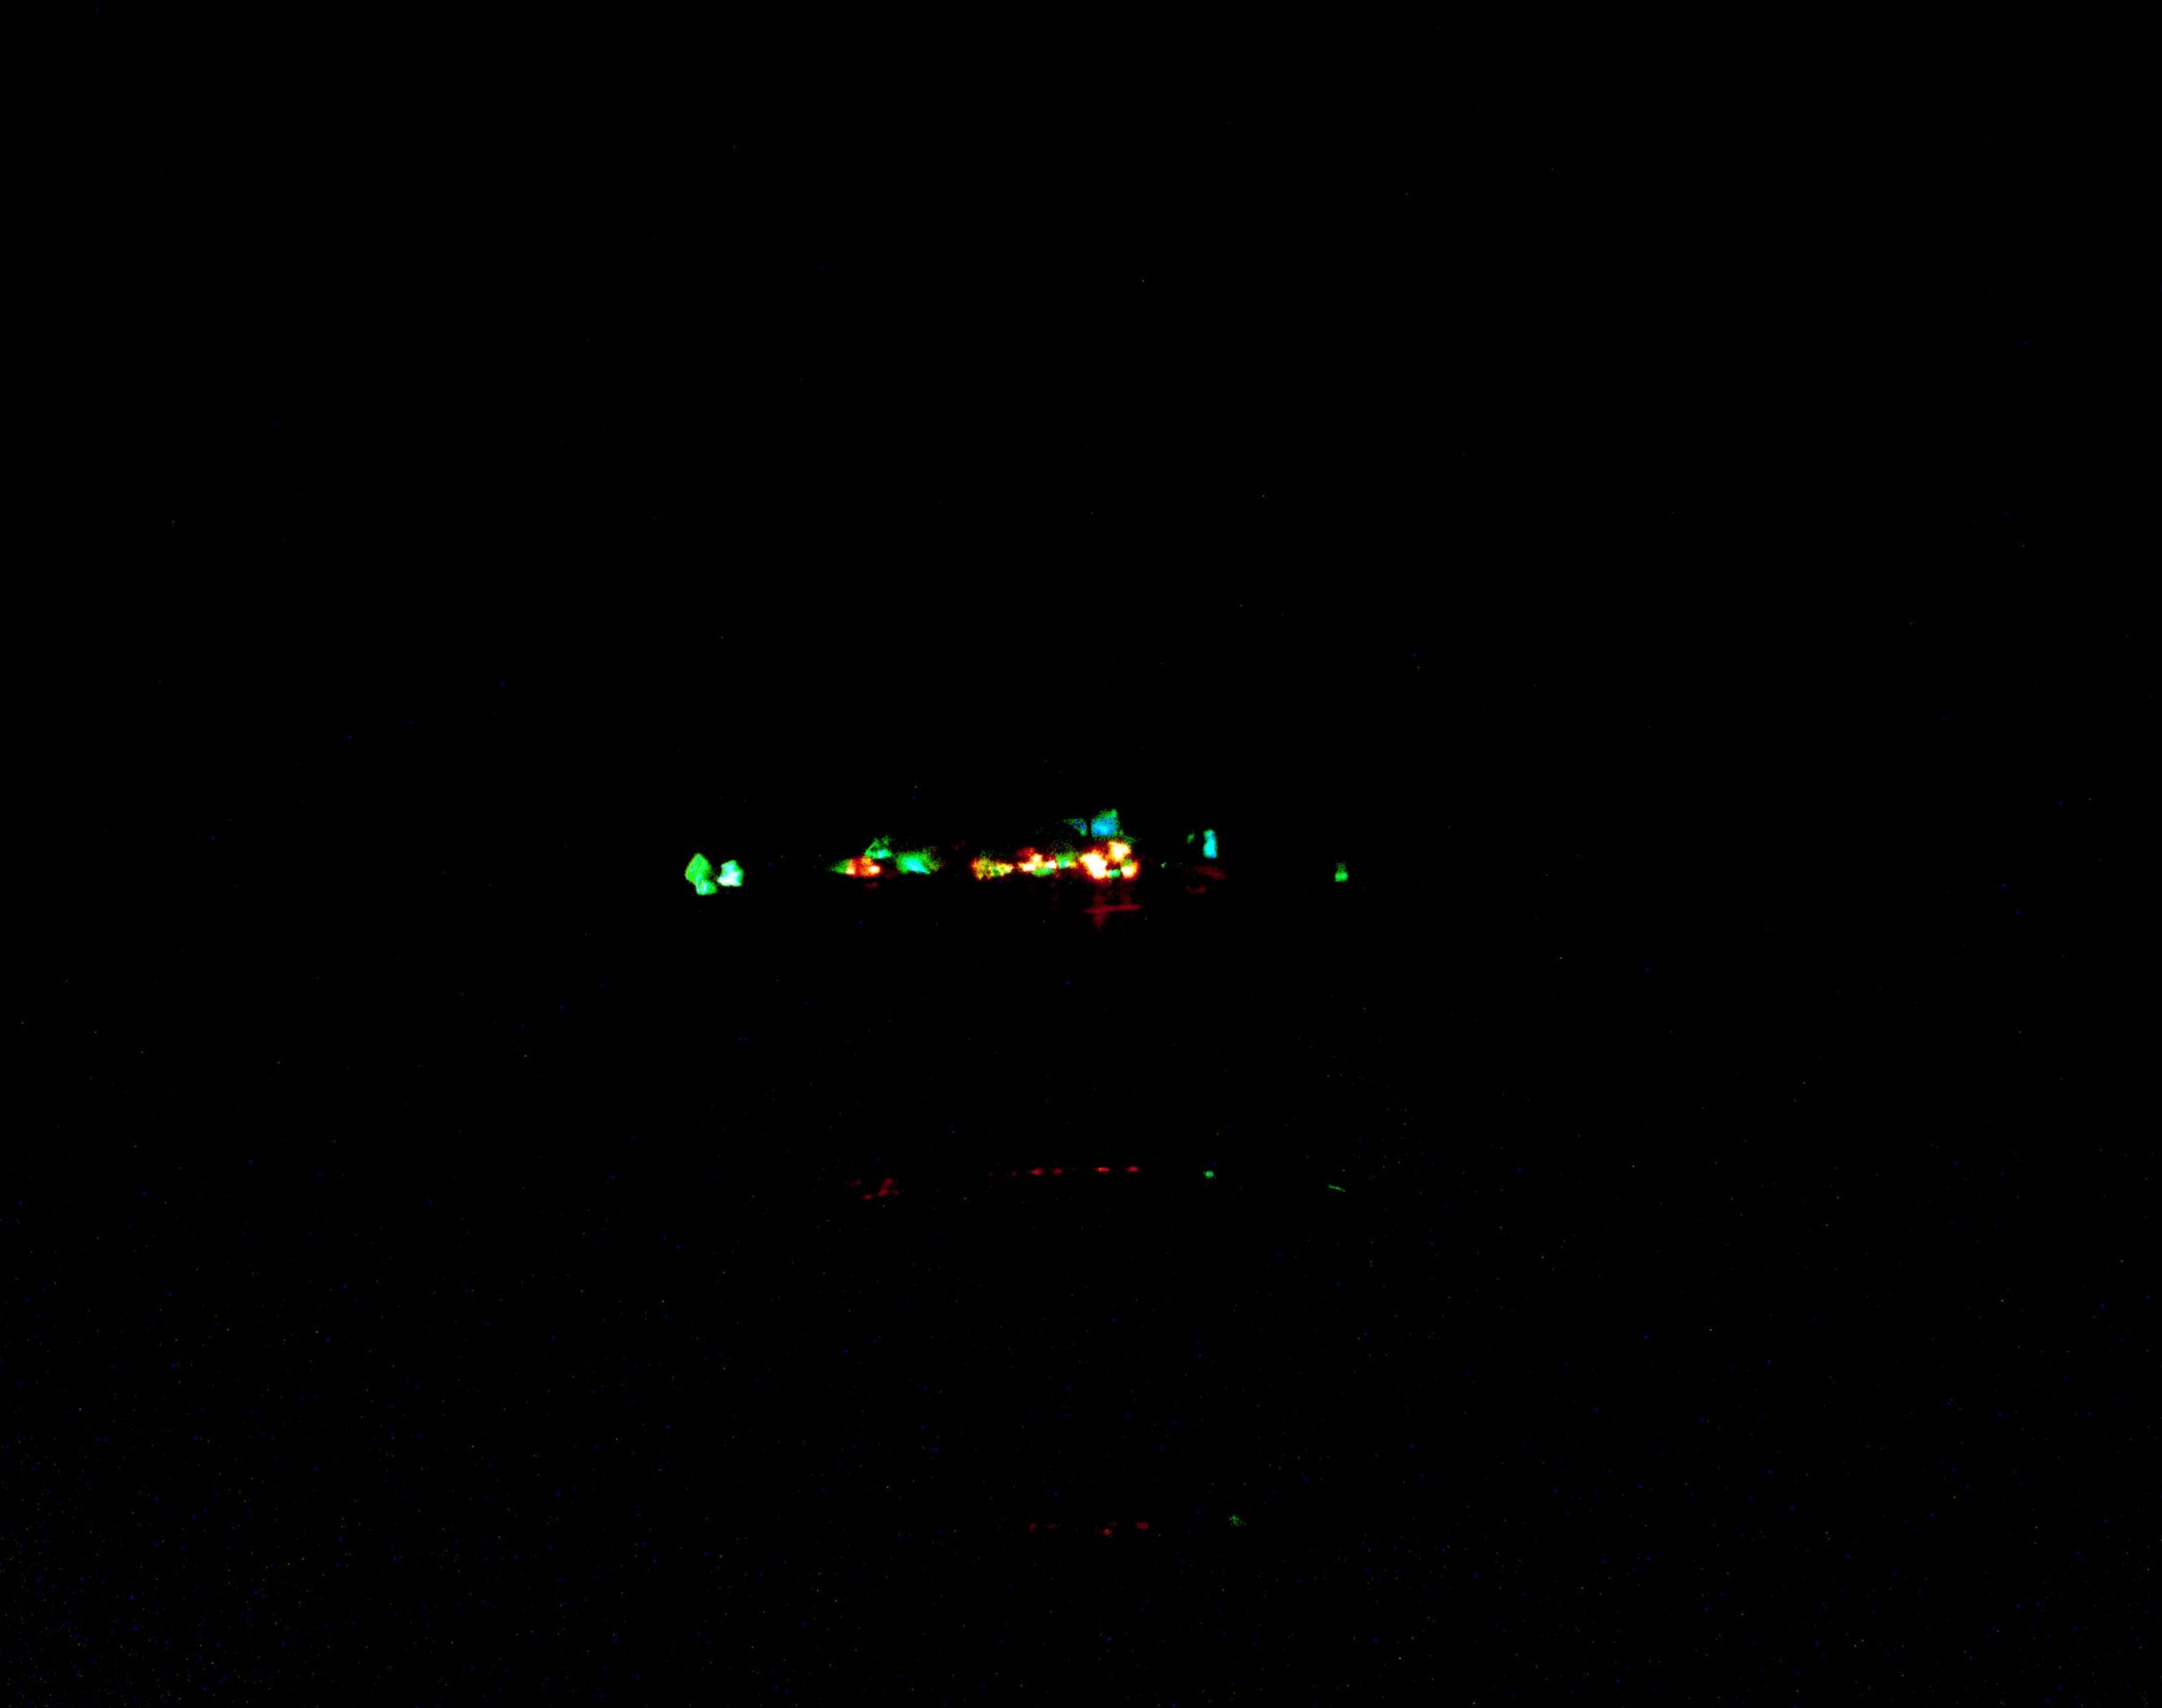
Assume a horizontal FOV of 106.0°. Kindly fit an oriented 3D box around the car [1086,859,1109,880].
[{"bbox_3d":[1.589,1.513,80.043,2.119,2.014,4.643,0,-1,-1],"label":"car"}]

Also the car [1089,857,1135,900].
[{"bbox_3d":[1.389,1.088,37.002,1.986,1.808,4.001,0,-1,1],"label":"car"}]

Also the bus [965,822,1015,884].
[{"bbox_3d":[-6.990,0.027,64.185,3.089,4.508,10.904,0,-1,-2],"label":"bus"}]

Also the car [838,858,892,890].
[{"bbox_3d":[-10.997,1.004,41.752,1.990,1.596,3.993,0,-1,-5],"label":"car"}]

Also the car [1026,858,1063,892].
[{"bbox_3d":[-2.168,1.252,49.930,2.119,2.014,4.643,0,-1,-1],"label":"car"}]

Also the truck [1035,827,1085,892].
[{"bbox_3d":[-1.796,0.579,76.950,4.195,5.649,11.468,0,-1,1],"label":"truck"}]

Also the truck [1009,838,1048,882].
[{"bbox_3d":[-6.974,0.855,110.222,4.195,5.649,11.468,0,-1,1],"label":"truck"}]

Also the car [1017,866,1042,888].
[{"bbox_3d":[-4.318,1.940,69.014,1.988,1.808,3.997,0,-1,-2],"label":"car"}]
